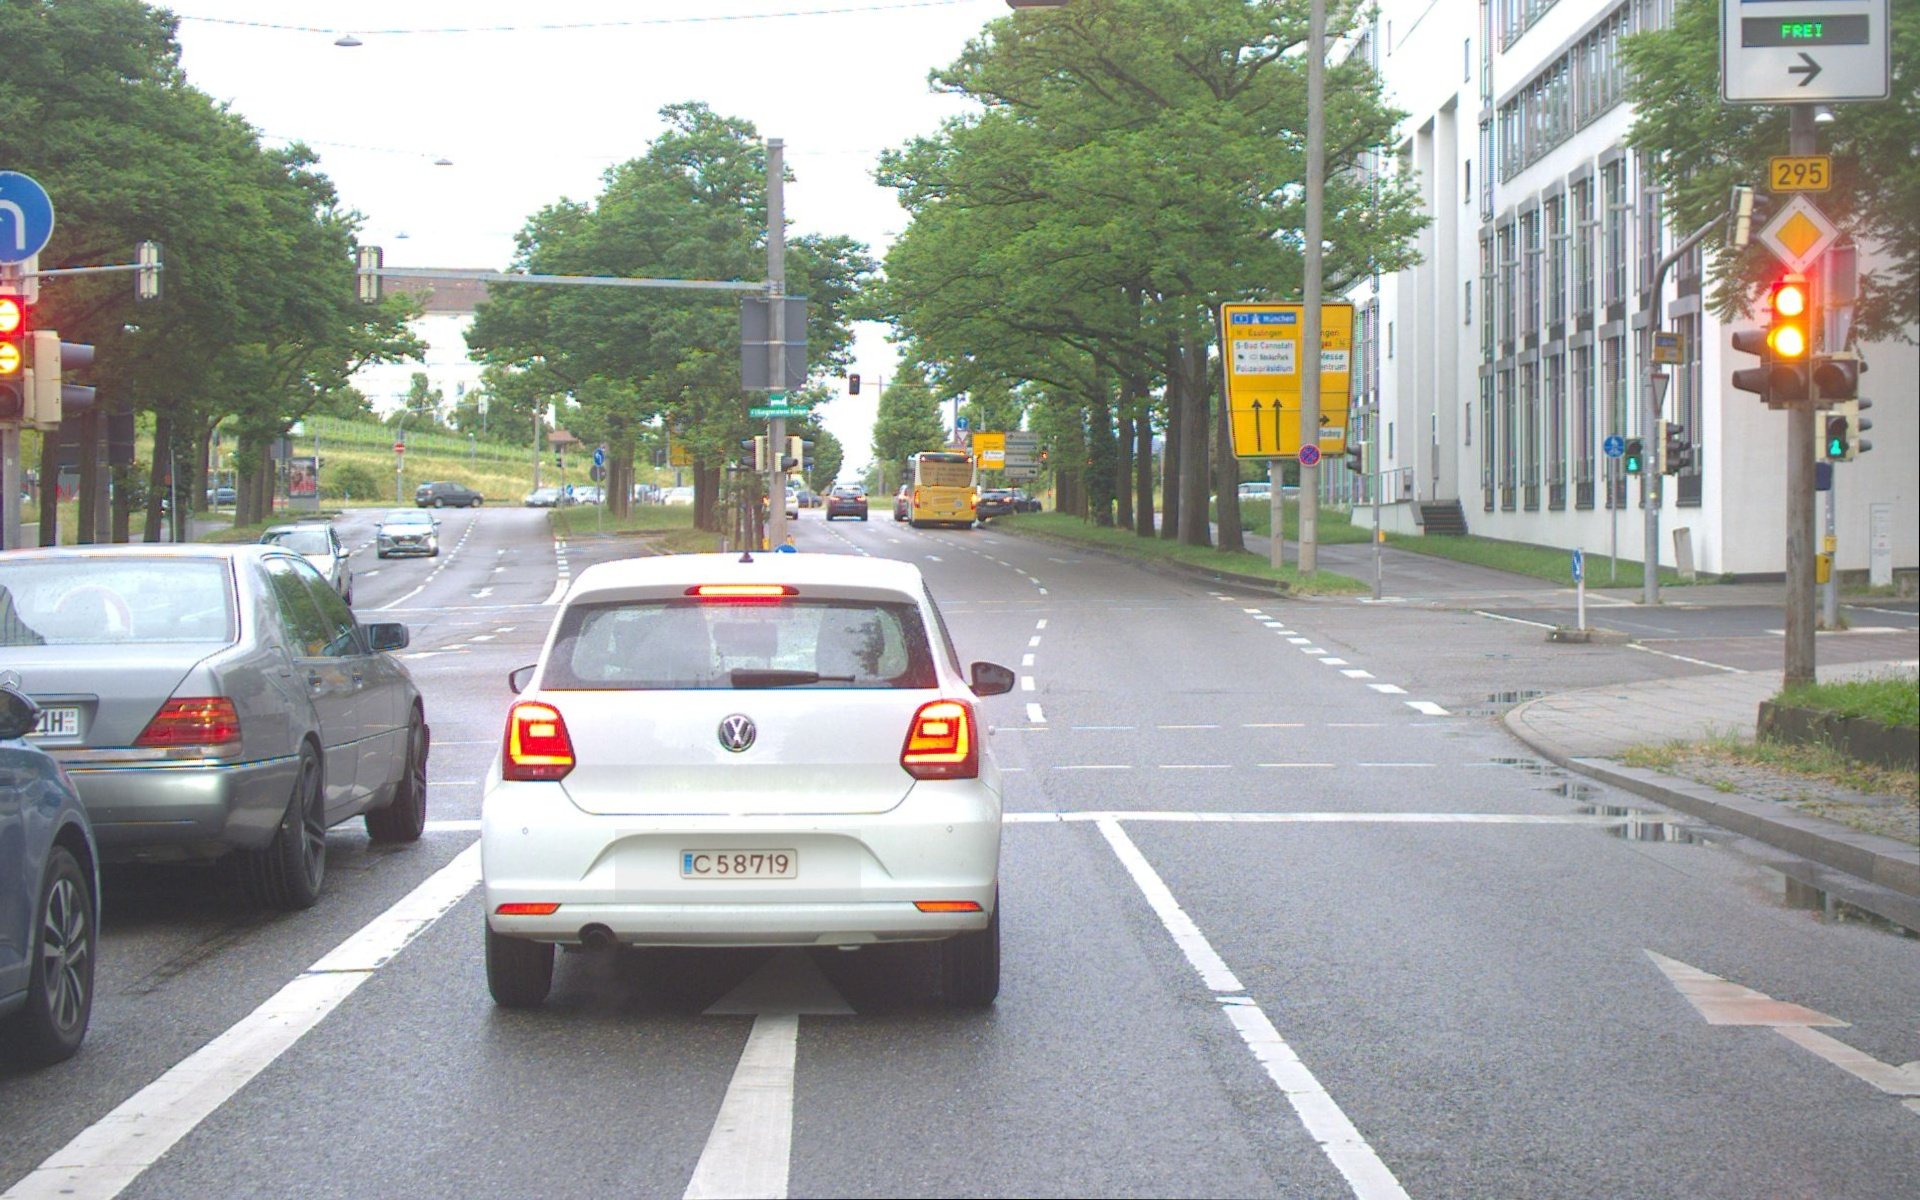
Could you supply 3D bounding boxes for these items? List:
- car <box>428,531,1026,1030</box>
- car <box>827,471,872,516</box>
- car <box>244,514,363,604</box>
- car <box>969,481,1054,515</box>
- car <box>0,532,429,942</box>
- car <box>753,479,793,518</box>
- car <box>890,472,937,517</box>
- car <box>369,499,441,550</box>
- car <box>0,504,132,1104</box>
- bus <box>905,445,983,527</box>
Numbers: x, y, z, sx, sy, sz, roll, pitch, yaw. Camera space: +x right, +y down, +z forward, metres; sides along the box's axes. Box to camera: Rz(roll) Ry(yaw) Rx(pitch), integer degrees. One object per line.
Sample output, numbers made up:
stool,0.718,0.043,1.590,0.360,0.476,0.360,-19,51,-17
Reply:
car,-0.750,0.504,12.340,1.794,1.497,4.000,0,1,-1
car,-5.018,-4.807,155.631,1.993,2.007,4.001,-1,1,-3
car,-11.982,-0.780,62.964,1.750,1.515,3.818,-2,2,-5
car,2.335,-4.619,155.579,1.699,1.510,3.818,1,2,43
car,-3.549,0.481,14.845,1.847,1.505,4.048,-1,1,0
car,-8.557,-4.629,157.137,1.794,1.735,4.001,-1,2,-3
car,-2.142,-4.806,156.612,1.993,2.007,4.001,-1,1,-3
car,-16.913,-2.324,104.943,1.814,1.406,4.657,-2,2,-5
car,-3.455,0.572,8.391,1.772,1.591,4.197,-1,1,1
bus,-0.715,-4.778,143.244,2.828,3.255,10.002,0,2,-3
